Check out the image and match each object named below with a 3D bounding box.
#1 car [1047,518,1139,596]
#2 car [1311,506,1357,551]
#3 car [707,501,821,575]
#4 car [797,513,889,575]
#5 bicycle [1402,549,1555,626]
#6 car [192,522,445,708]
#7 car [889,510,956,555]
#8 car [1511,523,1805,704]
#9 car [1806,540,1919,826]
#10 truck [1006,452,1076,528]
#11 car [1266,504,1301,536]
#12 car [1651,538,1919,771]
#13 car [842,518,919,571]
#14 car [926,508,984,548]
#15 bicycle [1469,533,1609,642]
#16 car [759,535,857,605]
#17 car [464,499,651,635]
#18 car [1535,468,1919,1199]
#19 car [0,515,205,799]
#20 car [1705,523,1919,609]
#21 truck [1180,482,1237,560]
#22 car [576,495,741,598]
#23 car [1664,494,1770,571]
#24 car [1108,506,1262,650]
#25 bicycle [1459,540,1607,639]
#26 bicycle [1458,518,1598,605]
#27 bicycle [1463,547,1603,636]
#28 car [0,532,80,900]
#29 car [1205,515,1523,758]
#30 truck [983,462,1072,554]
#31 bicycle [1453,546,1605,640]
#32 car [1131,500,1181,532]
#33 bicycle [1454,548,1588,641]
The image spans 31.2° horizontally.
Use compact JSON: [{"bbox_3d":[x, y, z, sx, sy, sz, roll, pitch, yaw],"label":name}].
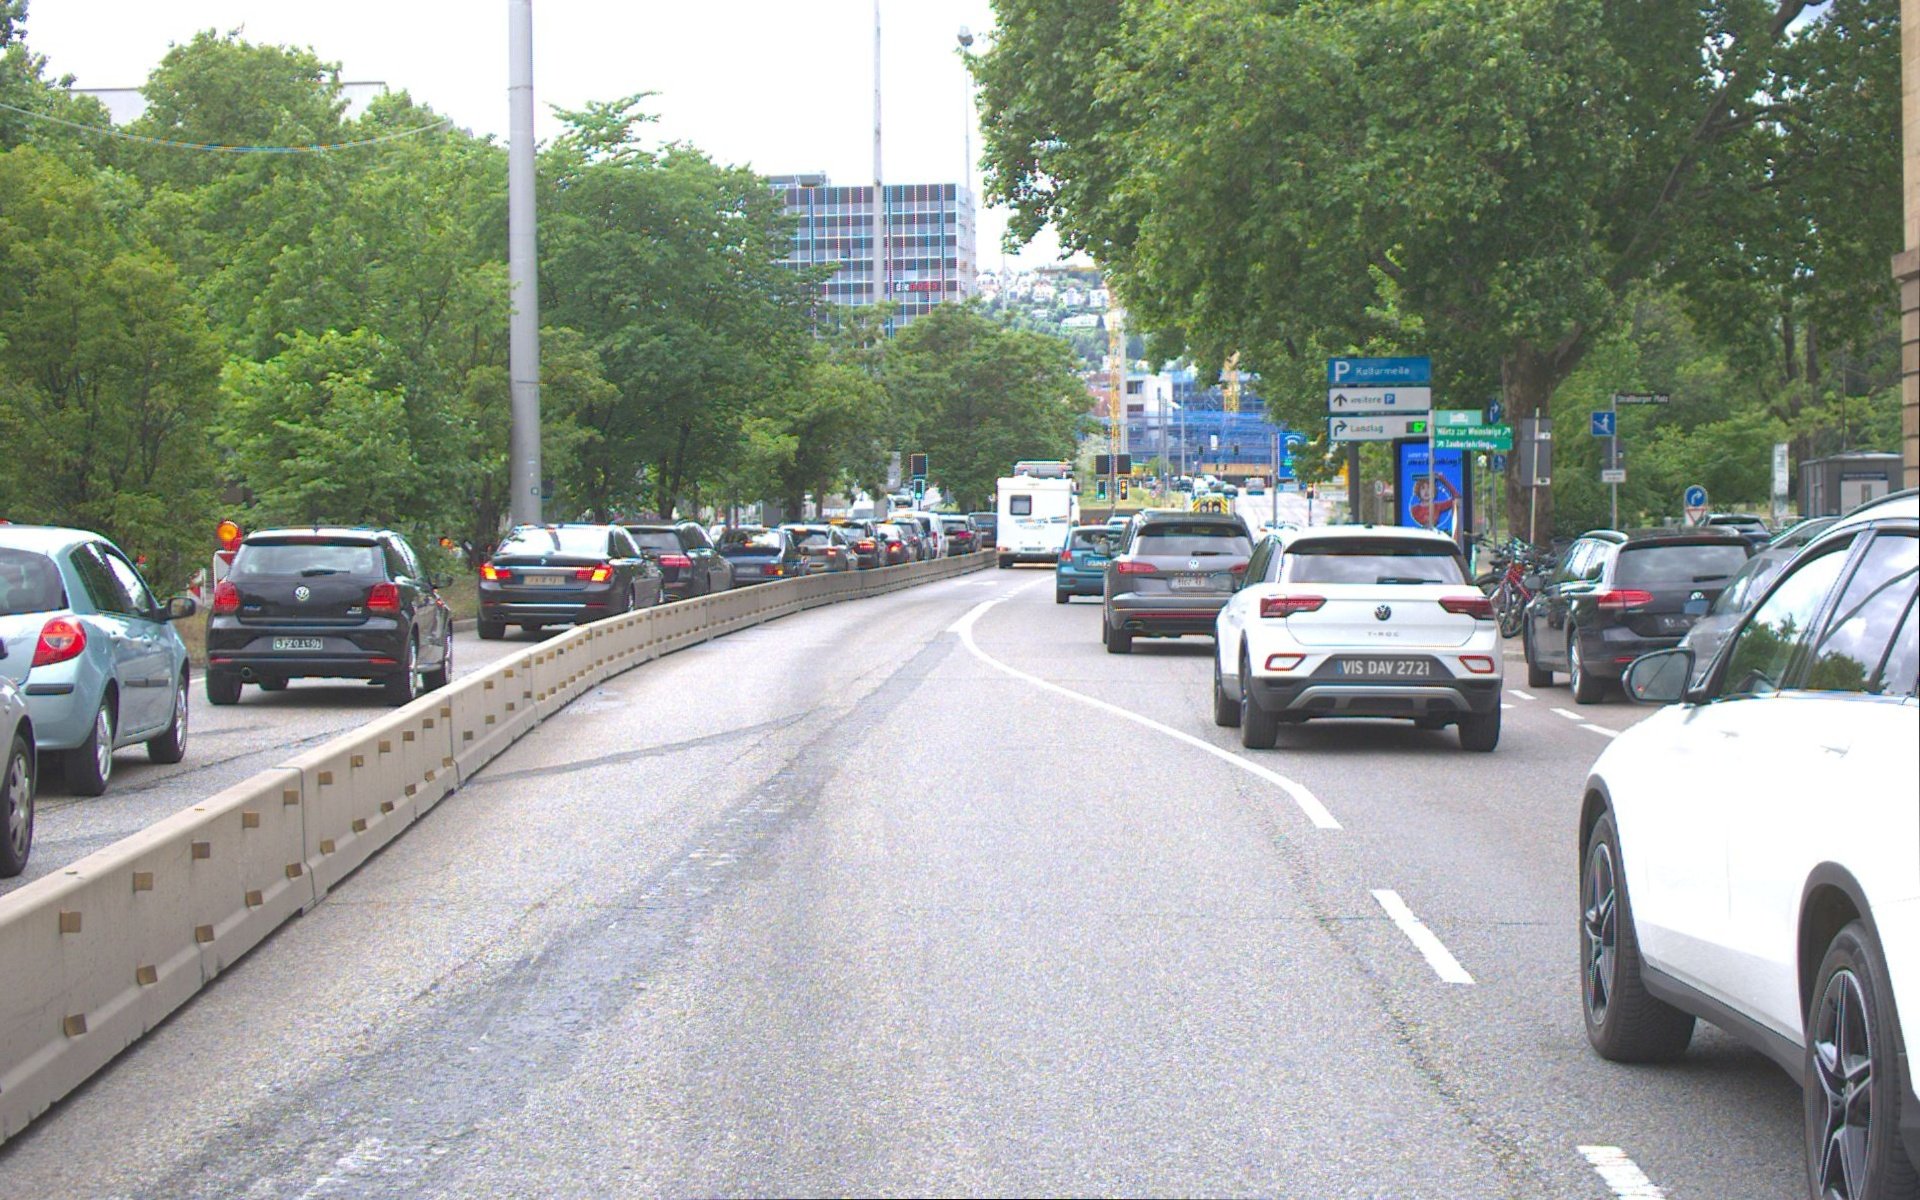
[{"bbox_3d":[2.530,-0.819,64.734,1.659,1.408,3.547,1,1,3],"label":"car"},{"bbox_3d":[17.006,-3.261,156.509,1.994,2.007,3.999,1,1,5],"label":"car"},{"bbox_3d":[-3.735,-1.202,66.120,1.678,1.362,4.543,0,1,3],"label":"car"},{"bbox_3d":[-2.735,-1.345,81.227,1.776,1.415,4.000,0,2,4],"label":"car"},{"bbox_3d":[6.252,-0.161,41.431,1.730,0.914,0.613,0,1,22],"label":"bicycle"},{"bbox_3d":[-5.365,0.076,29.168,1.659,1.449,4.199,1,1,-4],"label":"car"},{"bbox_3d":[-1.117,-2.038,103.962,1.659,1.315,3.547,1,1,5],"label":"car"},{"bbox_3d":[6.126,0.073,30.630,1.788,1.481,4.326,1,1,1],"label":"car"},{"bbox_3d":[5.768,0.402,18.492,1.616,1.450,3.858,-1,1,3],"label":"car"},{"bbox_3d":[3.388,-4.522,142.561,2.692,2.981,5.637,2,1,3],"label":"truck"},{"bbox_3d":[17.049,-4.214,181.270,1.759,1.663,4.167,0,2,4],"label":"car"},{"bbox_3d":[5.950,0.310,23.625,1.708,1.421,3.997,-1,1,2],"label":"car"},{"bbox_3d":[-2.030,-1.433,88.767,1.659,1.315,3.547,1,1,4],"label":"car"},{"bbox_3d":[-0.156,-2.445,117.035,1.659,1.315,3.547,1,1,5],"label":"car"},{"bbox_3d":[6.930,-0.159,41.134,1.544,1.252,0.542,2,1,22],"label":"bicycle"},{"bbox_3d":[-3.177,-0.644,72.597,1.661,1.431,3.960,1,1,3],"label":"car"},{"bbox_3d":[-5.079,-0.444,43.926,1.923,1.630,4.937,1,1,-2],"label":"car"},{"bbox_3d":[2.601,0.537,8.178,1.788,1.619,4.437,0,1,1],"label":"car"},{"bbox_3d":[-5.553,0.262,20.120,1.672,1.501,3.855,1,1,-4],"label":"car"},{"bbox_3d":[15.832,-0.636,63.518,3.836,1.563,1.679,0,1,4],"label":"car"},{"bbox_3d":[13.524,-4.317,187.459,2.877,4.089,6.637,1,1,3],"label":"truck"},{"bbox_3d":[-4.563,-0.832,52.688,1.816,1.494,4.768,0,1,4],"label":"car"},{"bbox_3d":[16.710,-1.517,75.999,1.761,1.546,4.026,0,3,5],"label":"car"},{"bbox_3d":[2.657,-0.291,41.213,1.659,1.633,3.547,1,1,1],"label":"car"},{"bbox_3d":[7.267,-0.136,43.646,1.757,1.205,0.604,1,1,1],"label":"bicycle"},{"bbox_3d":[7.350,-0.500,44.491,1.729,1.087,0.380,1,1,17],"label":"bicycle"},{"bbox_3d":[7.353,-0.115,44.099,1.729,1.087,0.574,1,1,12],"label":"bicycle"},{"bbox_3d":[-4.748,0.474,12.978,1.878,1.476,4.705,1,1,-3],"label":"car"},{"bbox_3d":[2.838,0.209,24.886,1.796,1.603,3.755,1,1,-1],"label":"car"},{"bbox_3d":[2.236,-2.977,111.968,2.621,2.851,7.078,1,1,3],"label":"truck"},{"bbox_3d":[6.719,-0.089,40.598,1.664,1.070,0.584,1,1,23],"label":"bicycle"},{"bbox_3d":[8.202,-3.491,143.580,1.947,1.315,4.016,1,1,5],"label":"car"},{"bbox_3d":[6.949,-0.066,42.562,1.609,1.126,0.470,0,1,-22],"label":"bicycle"}]
